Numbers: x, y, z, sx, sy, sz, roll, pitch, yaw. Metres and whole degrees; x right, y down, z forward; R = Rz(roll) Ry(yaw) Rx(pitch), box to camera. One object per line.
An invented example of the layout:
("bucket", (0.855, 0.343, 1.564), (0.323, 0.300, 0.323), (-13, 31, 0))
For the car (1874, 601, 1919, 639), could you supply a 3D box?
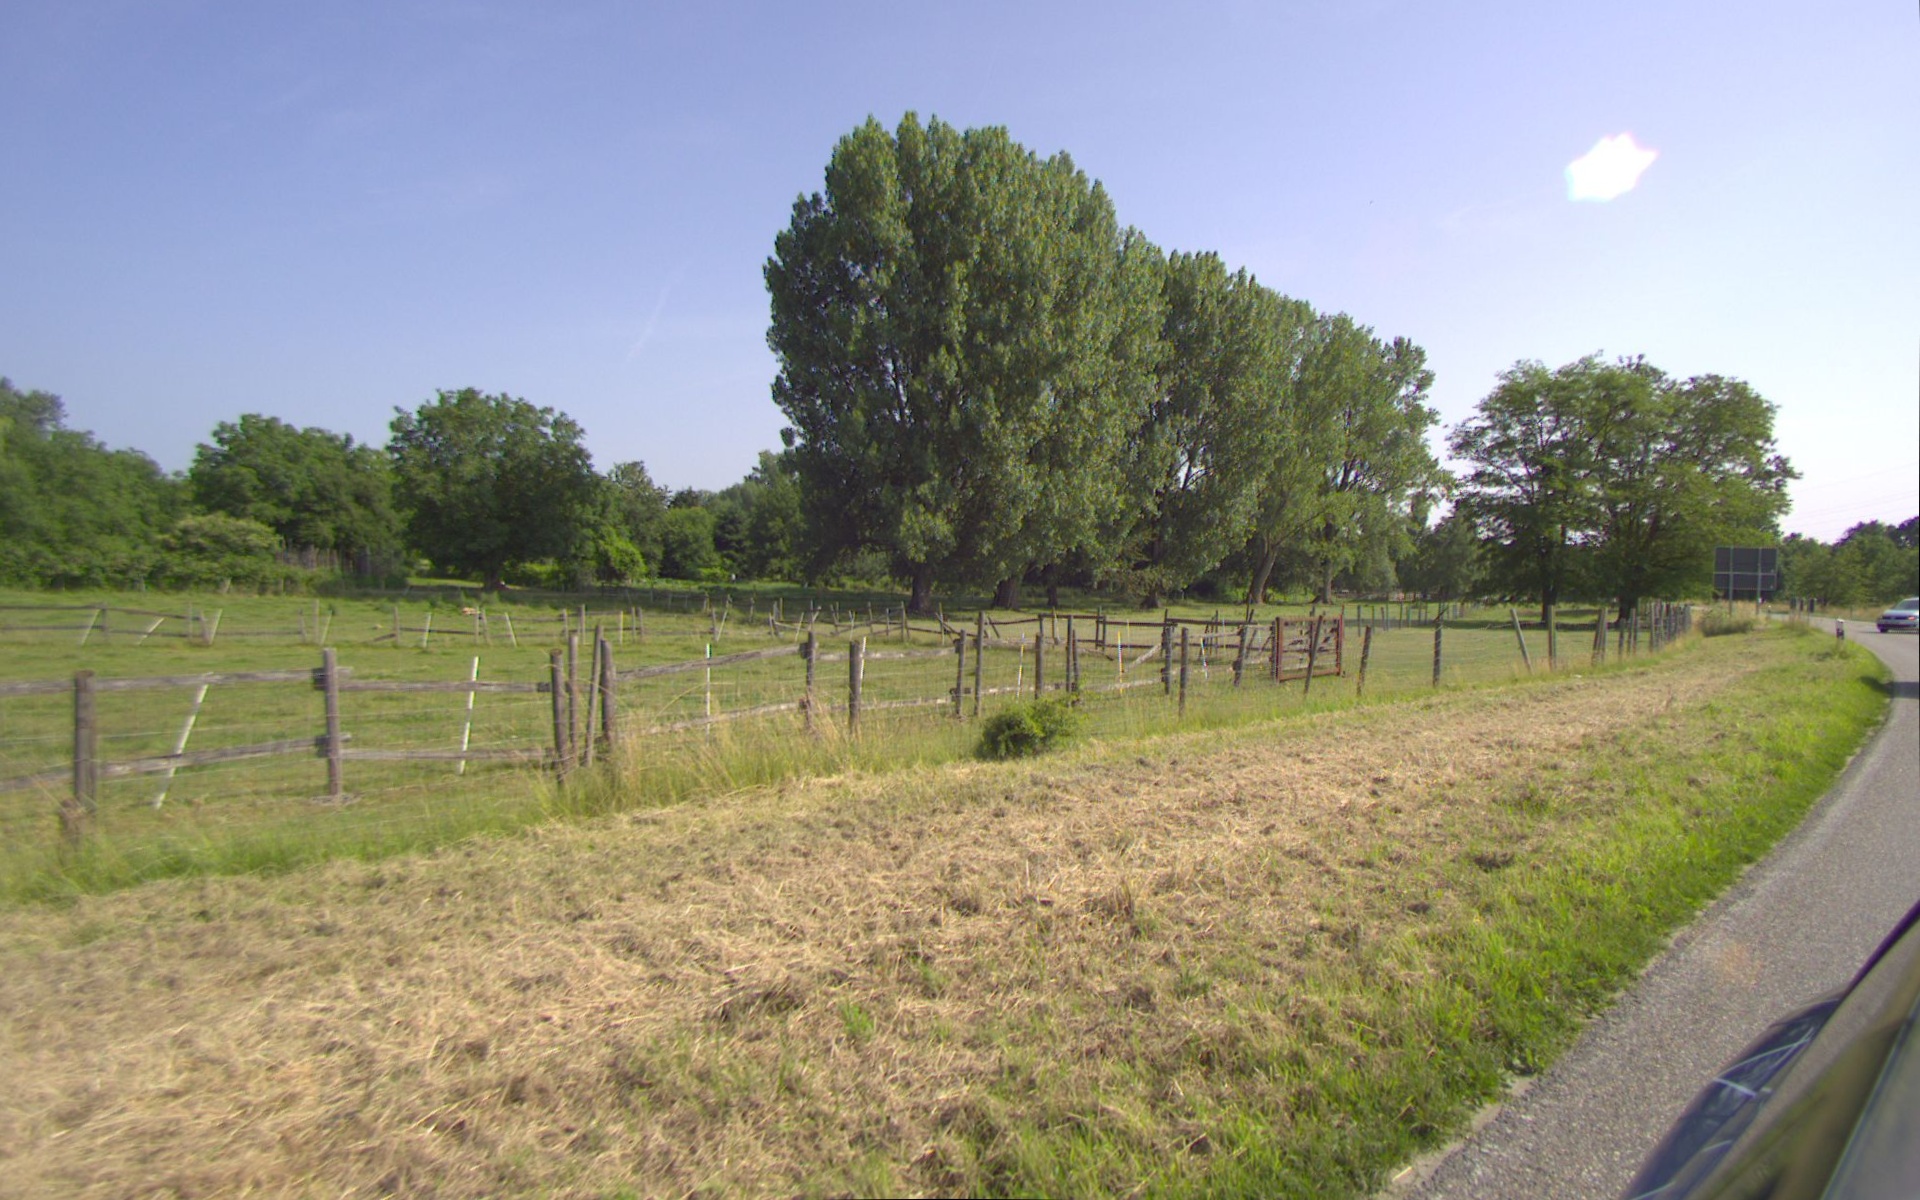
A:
("car", (42.227, 0.839, 44.012), (3.826, 1.600, 2.004), (0, 0, -17))
